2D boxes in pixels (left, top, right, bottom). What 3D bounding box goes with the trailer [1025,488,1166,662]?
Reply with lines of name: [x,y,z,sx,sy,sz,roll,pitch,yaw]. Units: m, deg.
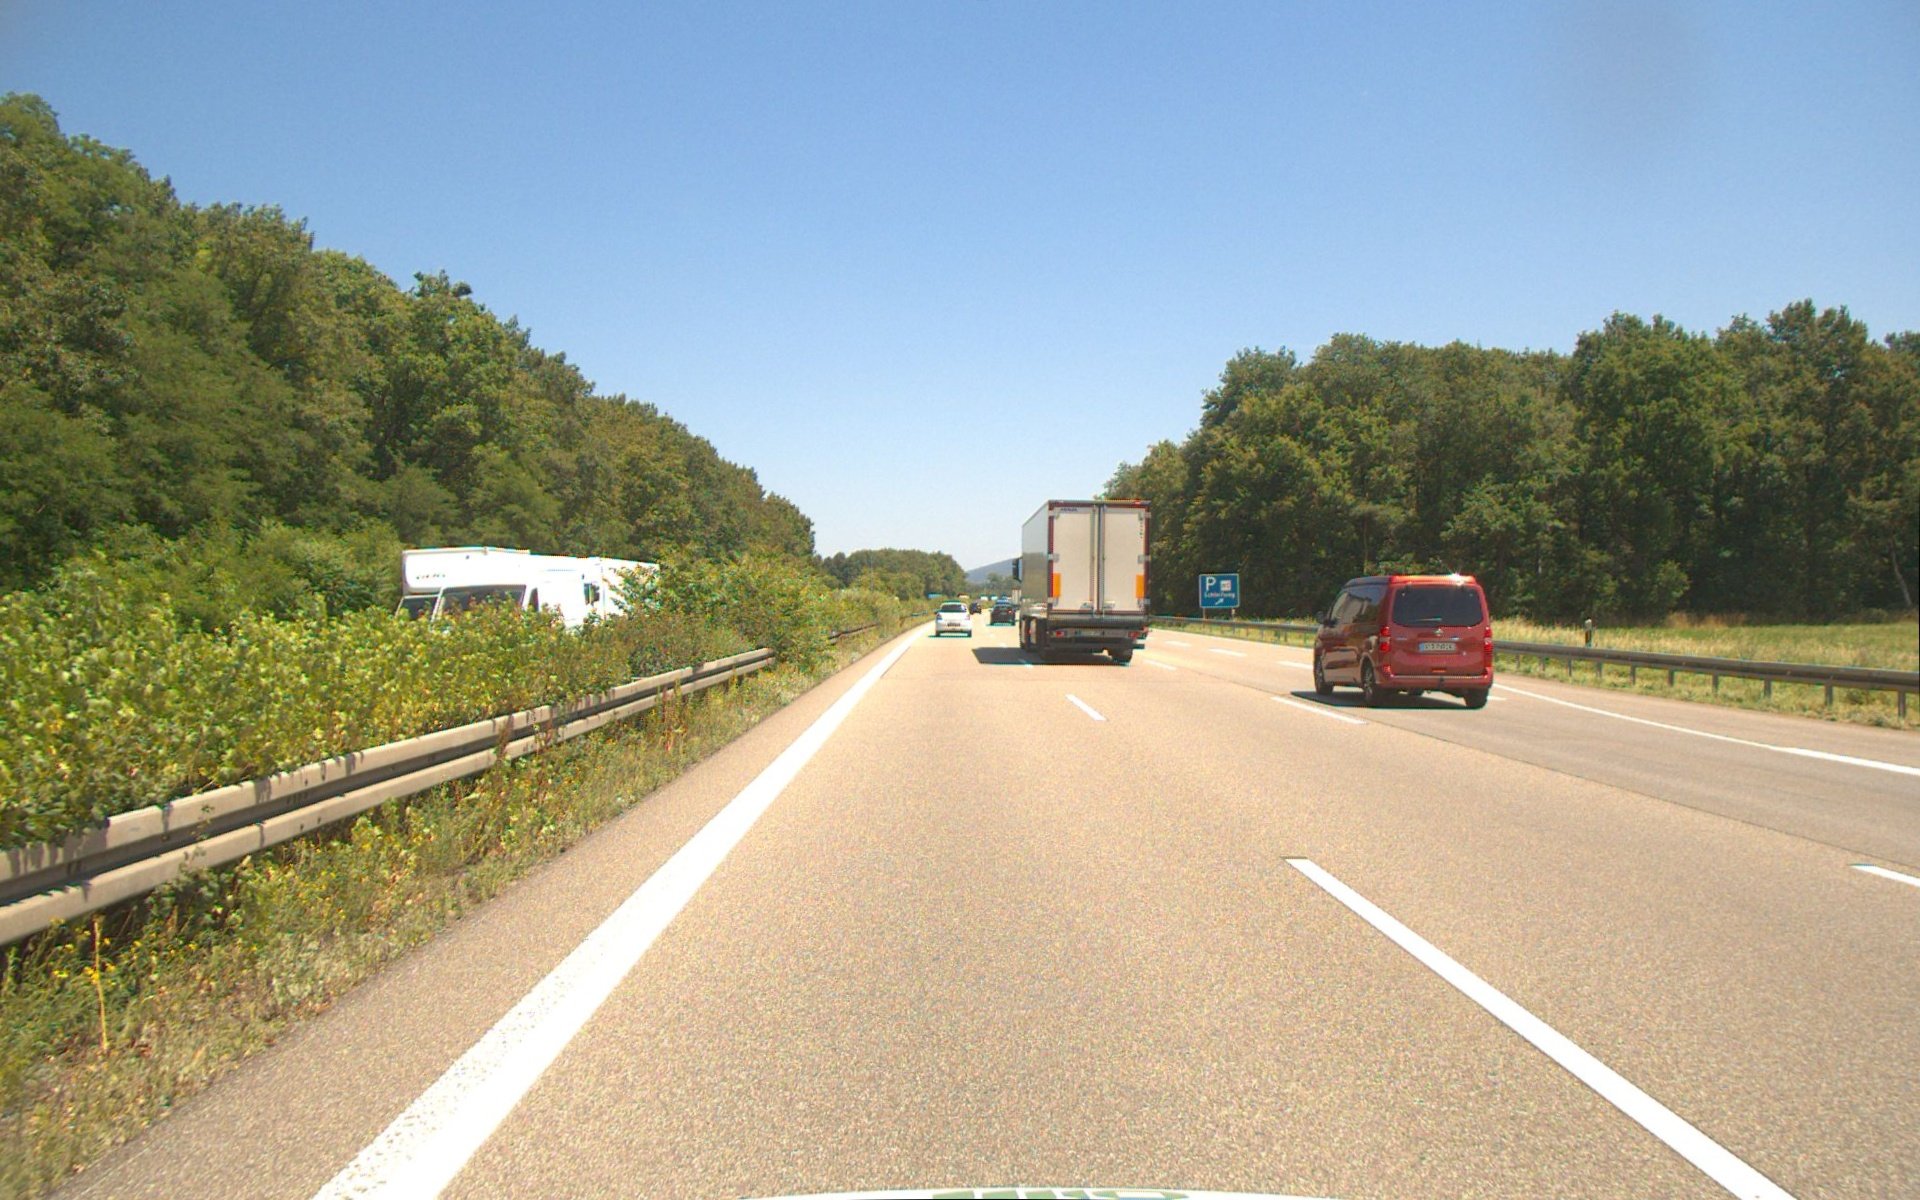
trailer: [3.536,-0.629,46.429,3.157,4.216,12.353,0,0,1]

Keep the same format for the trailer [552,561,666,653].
trailer: [-17.158,0.338,81.857,2.776,4.104,12.913,-2,0,0]

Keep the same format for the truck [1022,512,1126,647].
truck: [3.671,-0.660,54.353,3.162,4.230,4.560,0,0,1]

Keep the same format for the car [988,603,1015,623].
car: [2.948,0.905,117.038,1.633,1.312,4.002,0,0,5]

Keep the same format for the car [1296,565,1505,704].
car: [7.126,0.520,27.381,1.818,2.038,5.520,1,0,-2]

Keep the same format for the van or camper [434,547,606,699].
van or camper: [-9.134,0.429,35.022,1.953,2.896,6.997,0,0,-2]

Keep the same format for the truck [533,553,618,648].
truck: [-17.359,0.020,74.936,2.776,4.104,4.184,-2,0,0]

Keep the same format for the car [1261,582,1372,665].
car: [9.201,0.590,42.980,1.953,2.049,3.999,0,0,-1]

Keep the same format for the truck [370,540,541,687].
truck: [-12.896,0.316,42.869,2.361,3.412,6.997,-2,0,-2]

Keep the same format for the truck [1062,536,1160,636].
truck: [7.003,-0.637,78.319,3.159,4.421,10.801,0,0,-3]

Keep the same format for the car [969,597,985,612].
car: [2.445,0.641,240.205,2.064,2.049,3.999,1,0,-2]

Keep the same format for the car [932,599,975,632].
car: [-0.298,0.678,75.224,1.775,1.429,3.315,0,0,-3]
